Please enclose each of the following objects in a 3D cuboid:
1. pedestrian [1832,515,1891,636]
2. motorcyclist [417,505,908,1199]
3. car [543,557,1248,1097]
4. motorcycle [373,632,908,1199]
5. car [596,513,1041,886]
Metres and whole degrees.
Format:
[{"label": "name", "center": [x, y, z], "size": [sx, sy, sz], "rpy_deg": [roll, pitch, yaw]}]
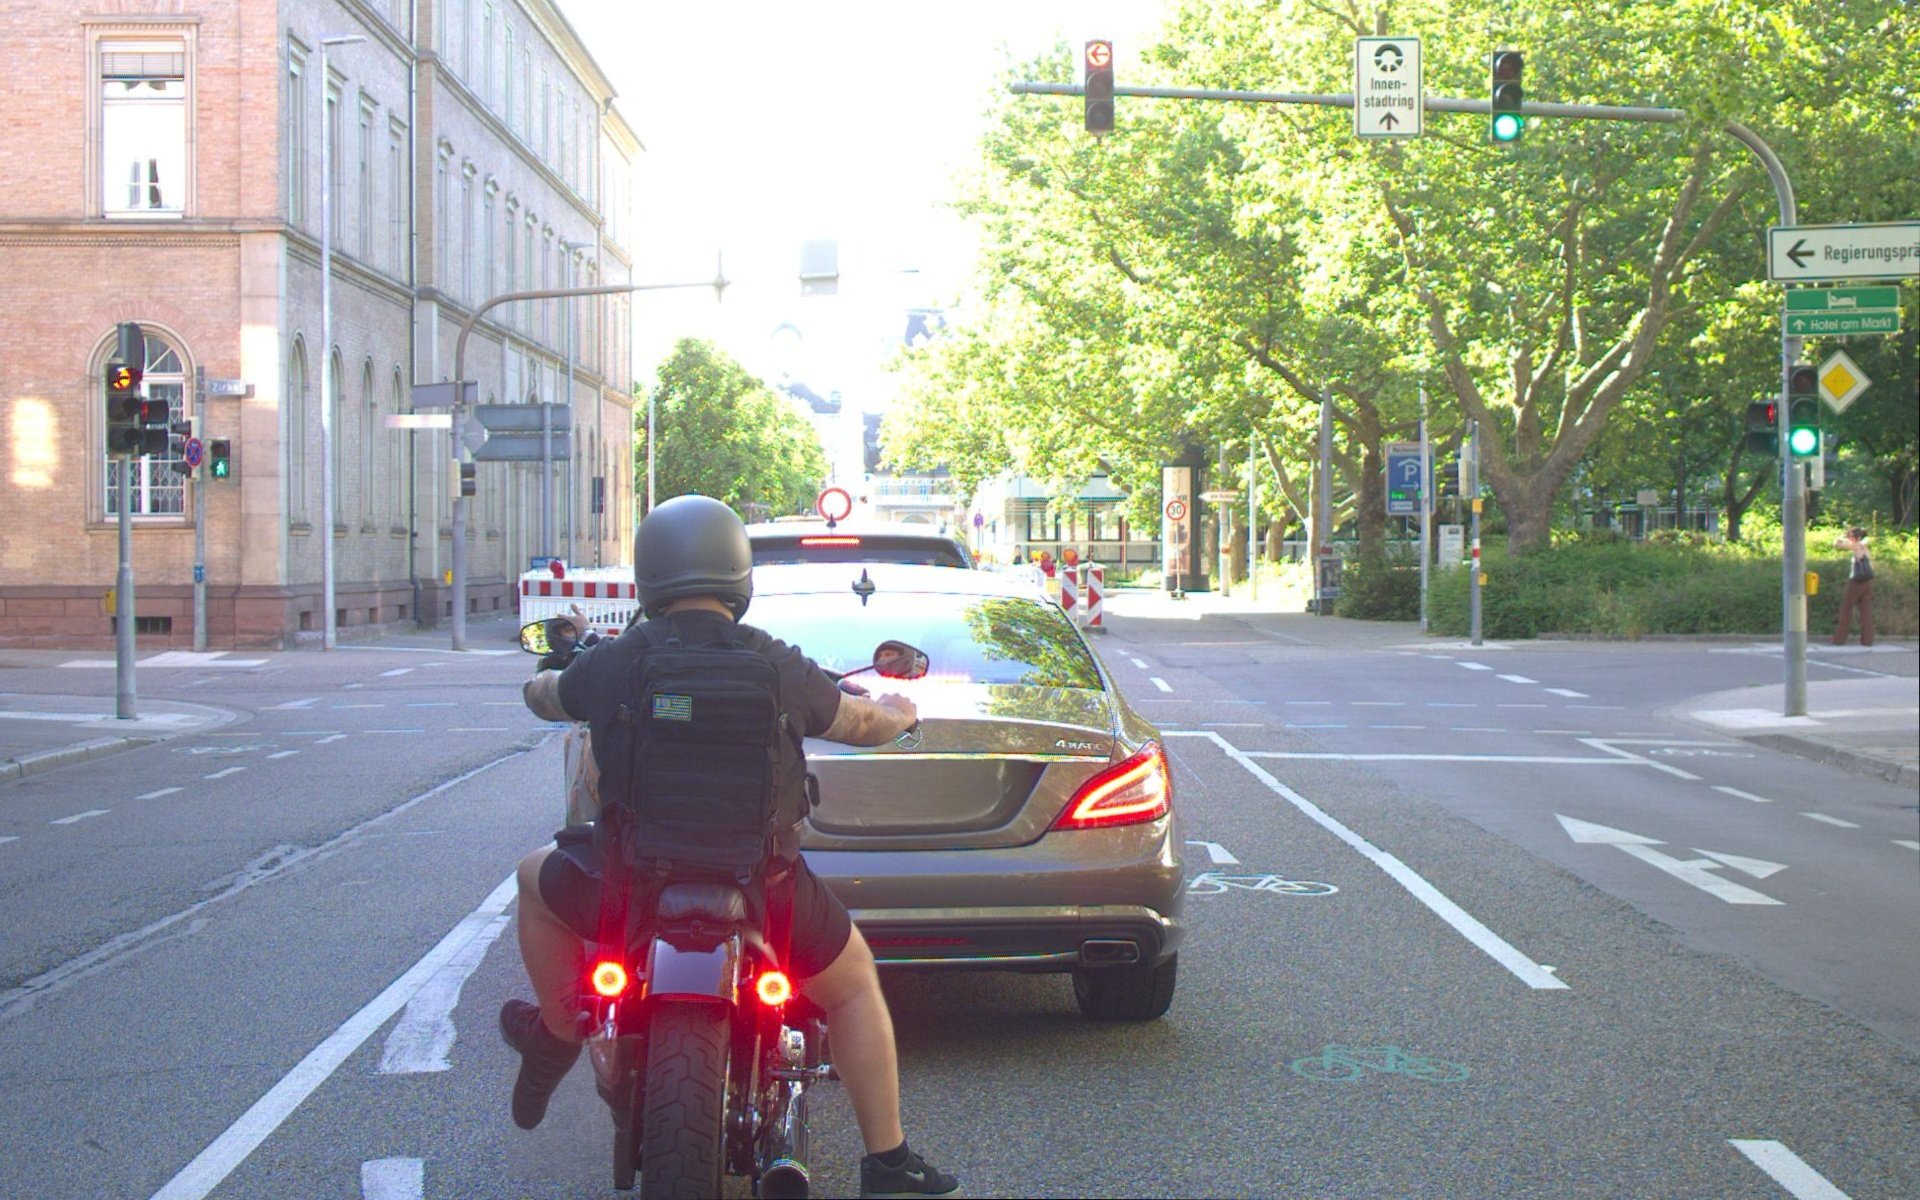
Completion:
[{"label": "pedestrian", "center": [13.272, -0.361, 50.611], "size": [0.678, 1.766, 0.616], "rpy_deg": [1, 0, 29]}, {"label": "motorcyclist", "center": [-0.607, 0.585, 7.550], "size": [0.980, 1.573, 1.248], "rpy_deg": [0, 1, -1]}, {"label": "car", "center": [-0.431, 0.587, 11.639], "size": [1.869, 1.439, 4.431], "rpy_deg": [0, 1, -8]}, {"label": "motorcycle", "center": [-0.611, 0.740, 7.581], "size": [0.980, 1.271, 2.407], "rpy_deg": [0, 1, -1]}, {"label": "car", "center": [-0.664, 0.430, 17.561], "size": [1.993, 1.660, 4.000], "rpy_deg": [1, 1, -1]}]
